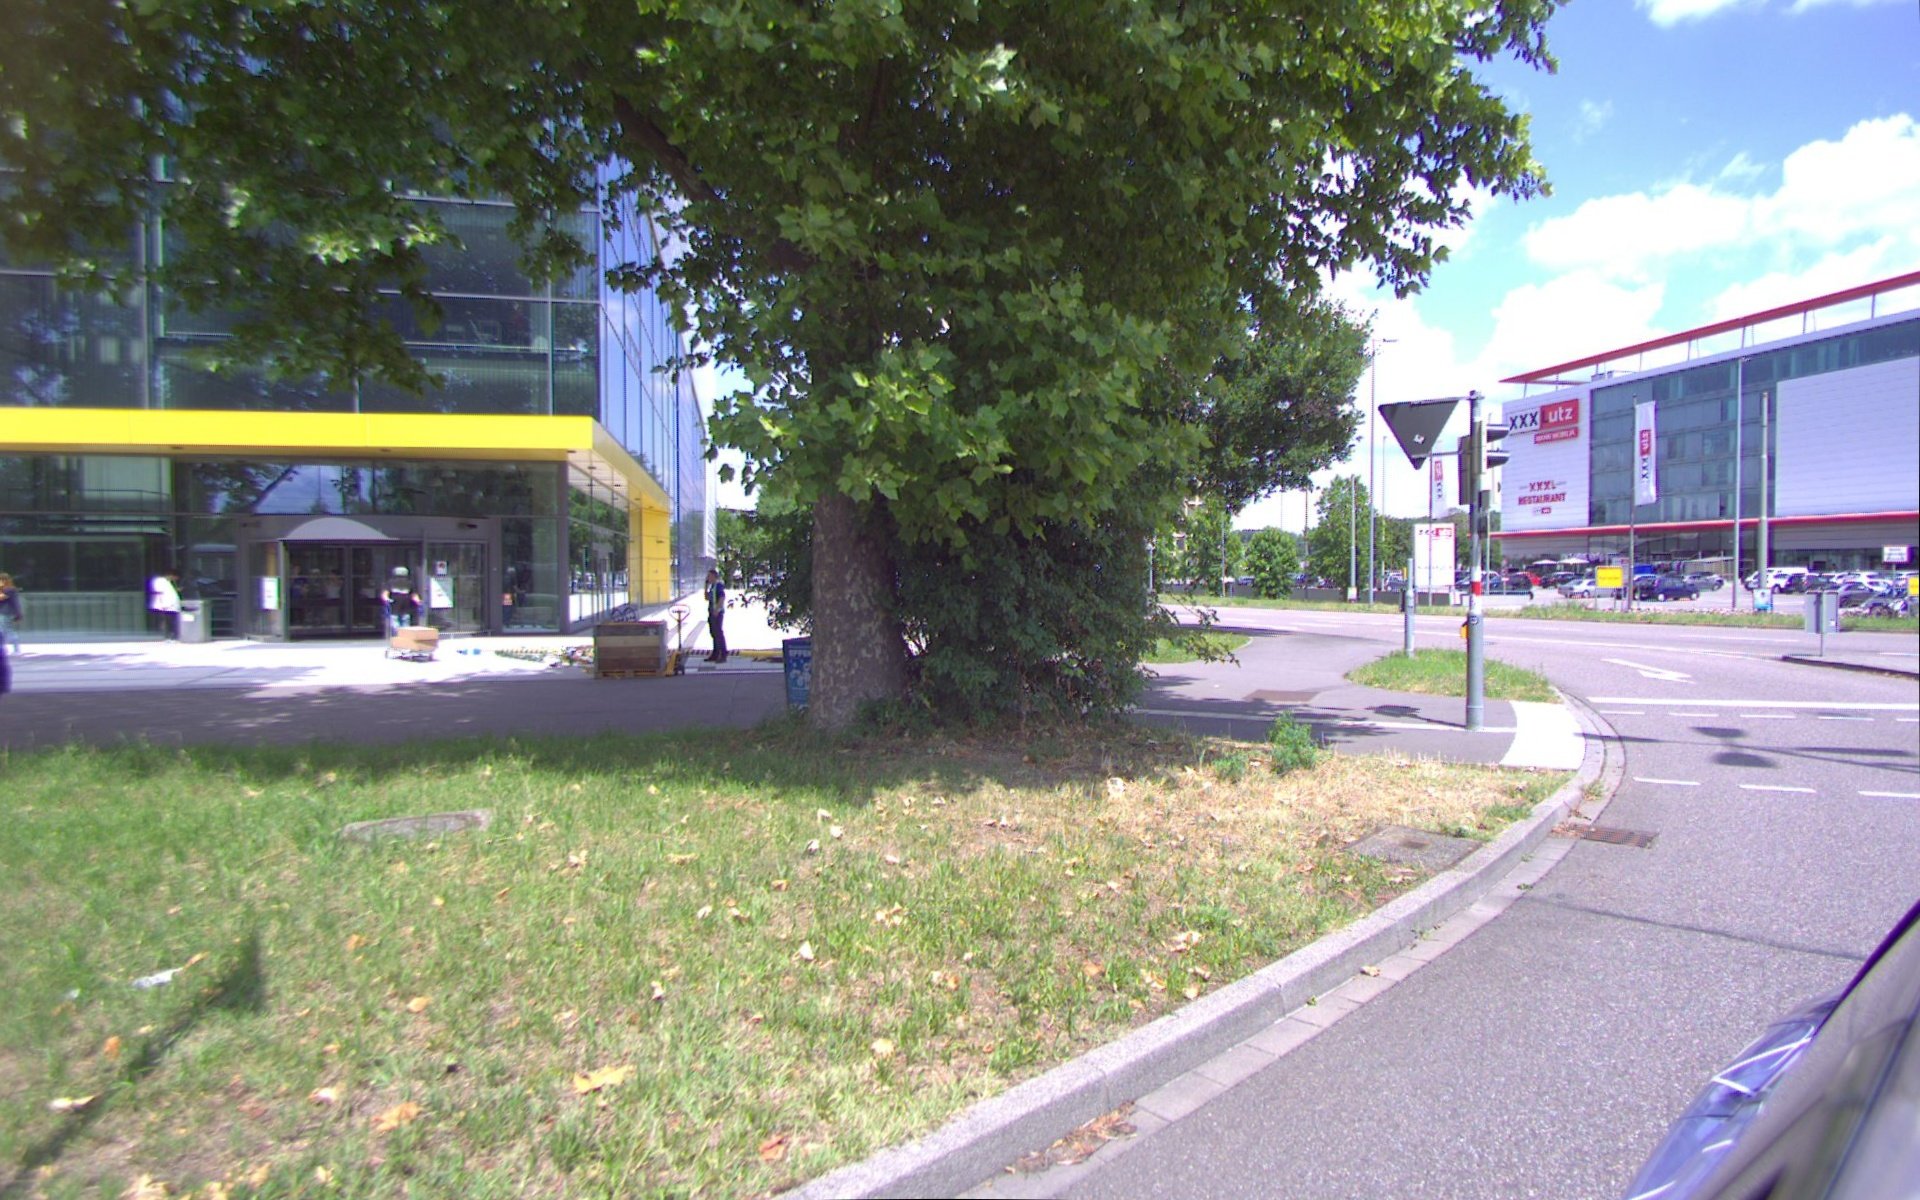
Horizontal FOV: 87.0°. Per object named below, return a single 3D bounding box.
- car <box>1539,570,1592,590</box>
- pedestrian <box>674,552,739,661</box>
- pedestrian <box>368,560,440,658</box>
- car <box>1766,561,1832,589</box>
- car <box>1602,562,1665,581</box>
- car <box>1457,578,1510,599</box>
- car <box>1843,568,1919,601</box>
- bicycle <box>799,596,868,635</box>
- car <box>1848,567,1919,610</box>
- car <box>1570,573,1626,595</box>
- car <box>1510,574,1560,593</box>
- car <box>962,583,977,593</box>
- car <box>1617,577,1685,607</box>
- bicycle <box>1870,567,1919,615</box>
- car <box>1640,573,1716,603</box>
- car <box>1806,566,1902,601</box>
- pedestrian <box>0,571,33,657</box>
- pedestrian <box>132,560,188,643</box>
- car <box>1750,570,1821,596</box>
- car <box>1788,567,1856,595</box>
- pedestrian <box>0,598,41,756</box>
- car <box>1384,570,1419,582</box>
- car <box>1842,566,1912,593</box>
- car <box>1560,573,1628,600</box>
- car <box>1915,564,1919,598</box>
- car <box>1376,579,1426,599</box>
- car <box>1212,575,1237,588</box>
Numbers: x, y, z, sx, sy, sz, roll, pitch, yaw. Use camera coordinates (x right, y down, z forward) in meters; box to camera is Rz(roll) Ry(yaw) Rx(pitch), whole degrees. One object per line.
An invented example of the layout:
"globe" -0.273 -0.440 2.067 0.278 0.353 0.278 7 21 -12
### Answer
"car" 60.371 -2.017 100.935 4.272 2.014 2.004 0 1 -11
"pedestrian" -5.001 0.127 20.026 0.993 2.098 0.973 0 0 4
"pedestrian" -11.131 0.163 20.277 0.880 1.910 0.964 0 0 29
"car" 70.588 -2.095 85.153 4.476 2.335 1.873 0 1 -11
"car" 66.363 -2.786 99.764 5.027 1.801 2.203 0 0 -12
"car" 51.305 -1.119 99.202 4.211 2.068 1.995 0 1 -11
"car" 57.494 -0.974 62.627 4.272 2.013 2.005 0 2 -11
"bicycle" -3.461 0.422 27.674 1.829 1.007 0.424 1 0 -9
"car" 45.080 -0.554 48.179 4.272 2.014 2.004 0 1 -11
"car" 60.854 -1.547 96.495 4.272 2.014 2.004 0 1 -11
"car" 60.391 -1.737 106.274 4.272 2.014 2.004 0 1 -11
"car" 1.490 -1.896 161.184 1.761 1.665 4.176 0 0 -7
"car" 50.478 -0.593 73.961 4.000 2.014 1.846 -2 1 -11
"bicycle" 34.004 -0.329 36.136 1.000 1.696 2.052 0 0 -10
"car" 50.736 -0.842 71.538 4.272 2.014 2.004 -1 1 -11
"car" 52.326 -0.957 59.271 4.272 2.014 2.004 0 1 -11
"pedestrian" -19.194 0.273 20.400 0.691 1.684 0.803 -1 3 -40
"pedestrian" -18.526 0.019 23.442 0.767 1.909 0.618 0 2 -1
"car" 64.361 -1.352 78.962 4.272 2.014 2.004 0 1 -11
"car" 64.979 -1.445 76.298 3.917 2.039 1.780 -1 0 -11
"pedestrian" -10.809 0.844 11.224 0.581 1.683 0.721 1 3 -7
"car" 55.688 -3.070 127.719 3.754 1.488 1.683 0 0 -8
"car" 69.939 -1.557 77.208 3.917 2.039 2.004 -1 0 -11
"car" 49.168 -1.063 78.535 4.272 2.014 2.004 0 1 -11
"car" 54.581 -1.013 54.835 4.272 1.862 2.004 0 1 -11
"car" 44.937 -1.085 103.189 4.272 2.014 2.003 0 -1 -11
"car" 39.546 -2.722 151.289 1.817 1.856 4.683 0 1 -11
